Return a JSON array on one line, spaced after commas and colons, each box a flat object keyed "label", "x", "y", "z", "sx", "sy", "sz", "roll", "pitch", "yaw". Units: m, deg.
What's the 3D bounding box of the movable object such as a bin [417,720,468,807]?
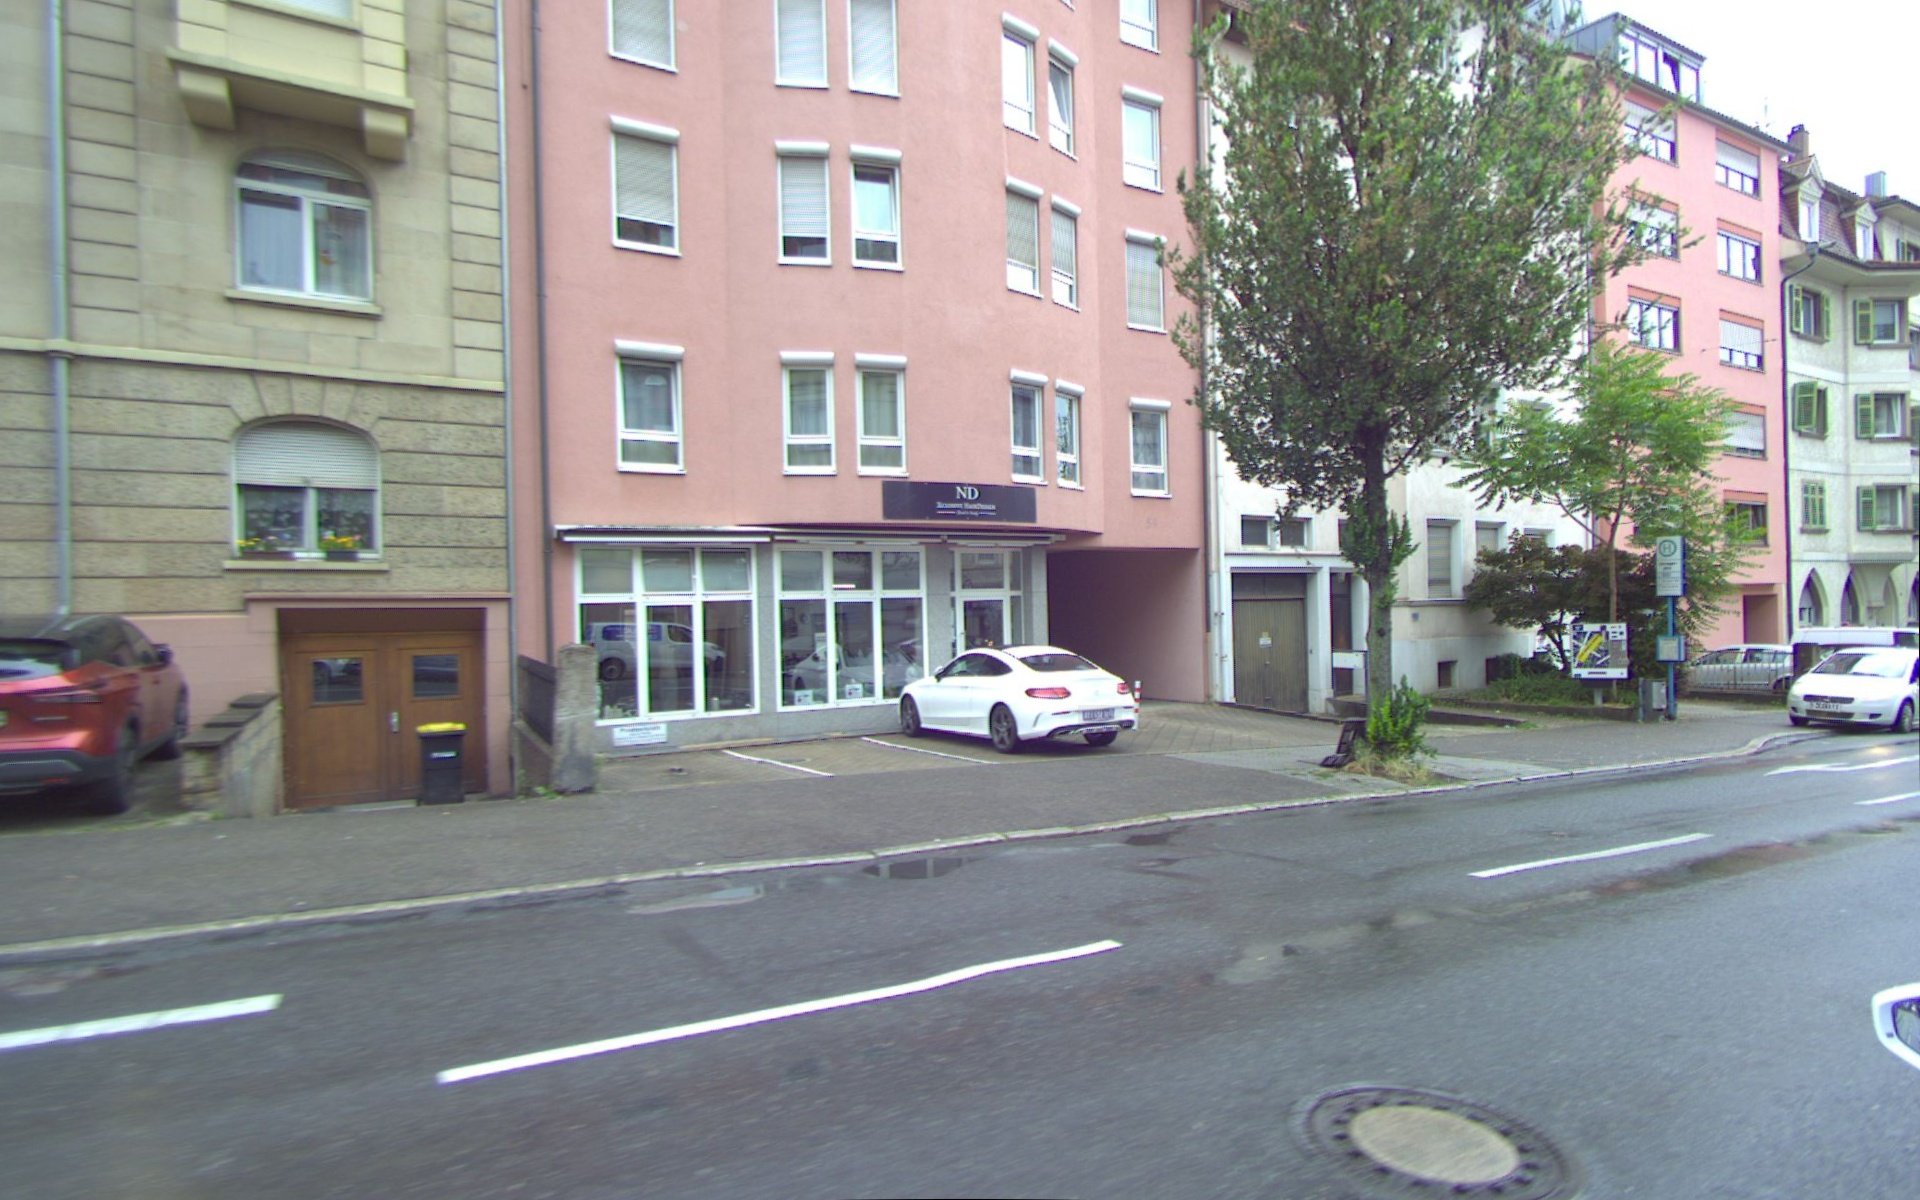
[{"label": "movable object such as a bin", "x": -6.692, "y": 2.100, "z": 13.006, "sx": 0.543, "sy": 1.010, "sz": 0.530, "roll": 1, "pitch": 0, "yaw": -24}]

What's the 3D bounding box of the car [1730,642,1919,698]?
[{"label": "car", "x": 25.027, "y": 1.939, "z": 28.734, "sx": 1.772, "sy": 1.470, "sz": 4.409, "roll": 2, "pitch": -3, "yaw": -31}]

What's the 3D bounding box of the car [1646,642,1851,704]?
[{"label": "car", "x": 20.324, "y": 1.820, "z": 26.017, "sx": 1.775, "sy": 1.476, "sz": 3.854, "roll": 2, "pitch": -3, "yaw": -36}]

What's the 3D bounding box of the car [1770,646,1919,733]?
[{"label": "car", "x": 17.180, "y": 1.613, "z": 18.928, "sx": 3.956, "sy": 1.465, "sz": 1.614, "roll": 1, "pitch": -2, "yaw": -29}]

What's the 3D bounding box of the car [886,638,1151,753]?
[{"label": "car", "x": 0.656, "y": 1.278, "z": 14.797, "sx": 1.746, "sy": 1.419, "sz": 4.528, "roll": 1, "pitch": -3, "yaw": -29}]

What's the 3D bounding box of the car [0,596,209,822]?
[{"label": "car", "x": -8.416, "y": 0.827, "z": 9.249, "sx": 1.875, "sy": 1.612, "sz": 4.077, "roll": 2, "pitch": 0, "yaw": -30}]

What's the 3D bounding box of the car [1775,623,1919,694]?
[{"label": "car", "x": 27.562, "y": 1.706, "z": 29.830, "sx": 2.023, "sy": 2.000, "sz": 4.808, "roll": 1, "pitch": -2, "yaw": -29}]
